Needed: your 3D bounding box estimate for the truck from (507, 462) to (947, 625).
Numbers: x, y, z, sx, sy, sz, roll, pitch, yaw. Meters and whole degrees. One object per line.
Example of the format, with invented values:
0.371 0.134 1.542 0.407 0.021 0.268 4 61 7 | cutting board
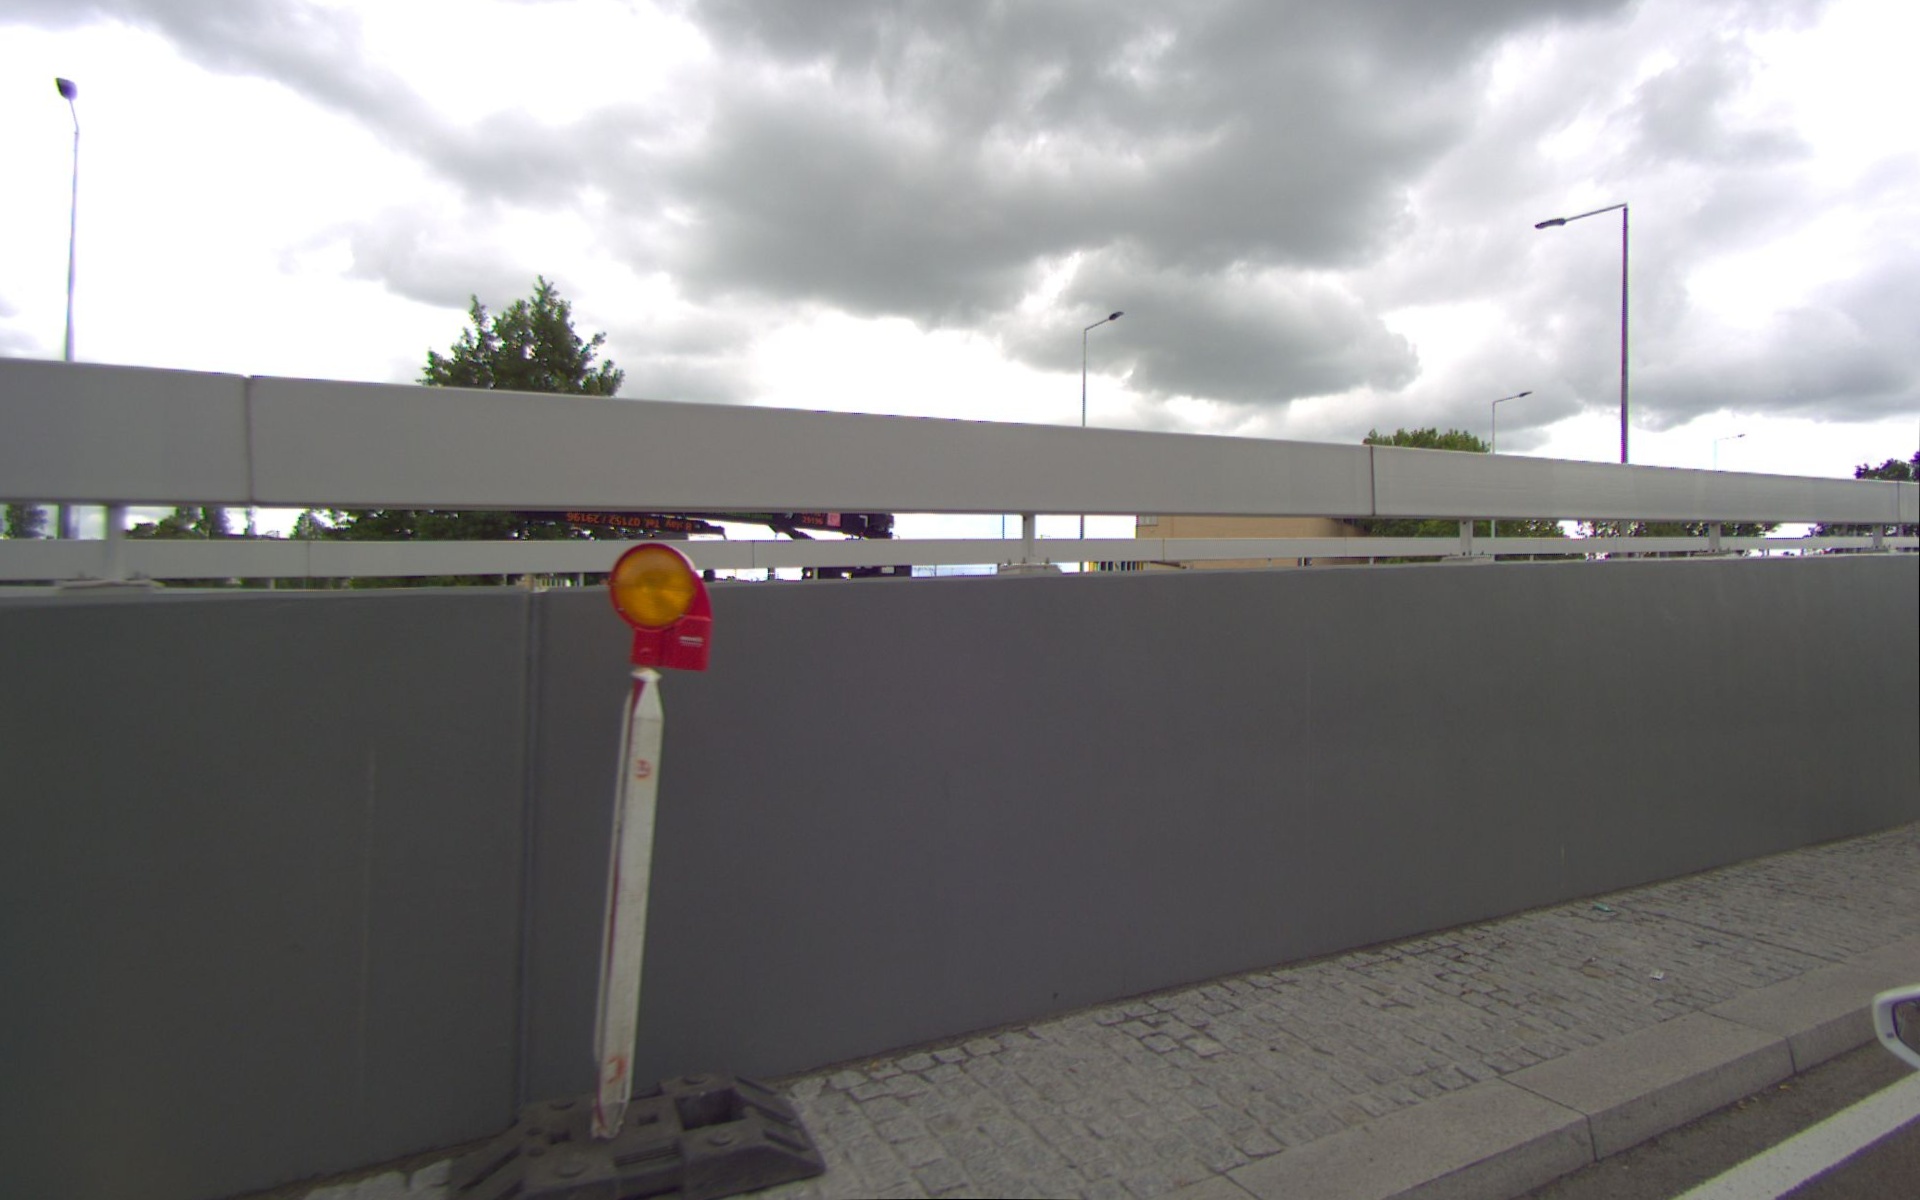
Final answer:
-5.438 -1.365 25.249 10.506 3.436 2.715 -2 3 -34 | truck
